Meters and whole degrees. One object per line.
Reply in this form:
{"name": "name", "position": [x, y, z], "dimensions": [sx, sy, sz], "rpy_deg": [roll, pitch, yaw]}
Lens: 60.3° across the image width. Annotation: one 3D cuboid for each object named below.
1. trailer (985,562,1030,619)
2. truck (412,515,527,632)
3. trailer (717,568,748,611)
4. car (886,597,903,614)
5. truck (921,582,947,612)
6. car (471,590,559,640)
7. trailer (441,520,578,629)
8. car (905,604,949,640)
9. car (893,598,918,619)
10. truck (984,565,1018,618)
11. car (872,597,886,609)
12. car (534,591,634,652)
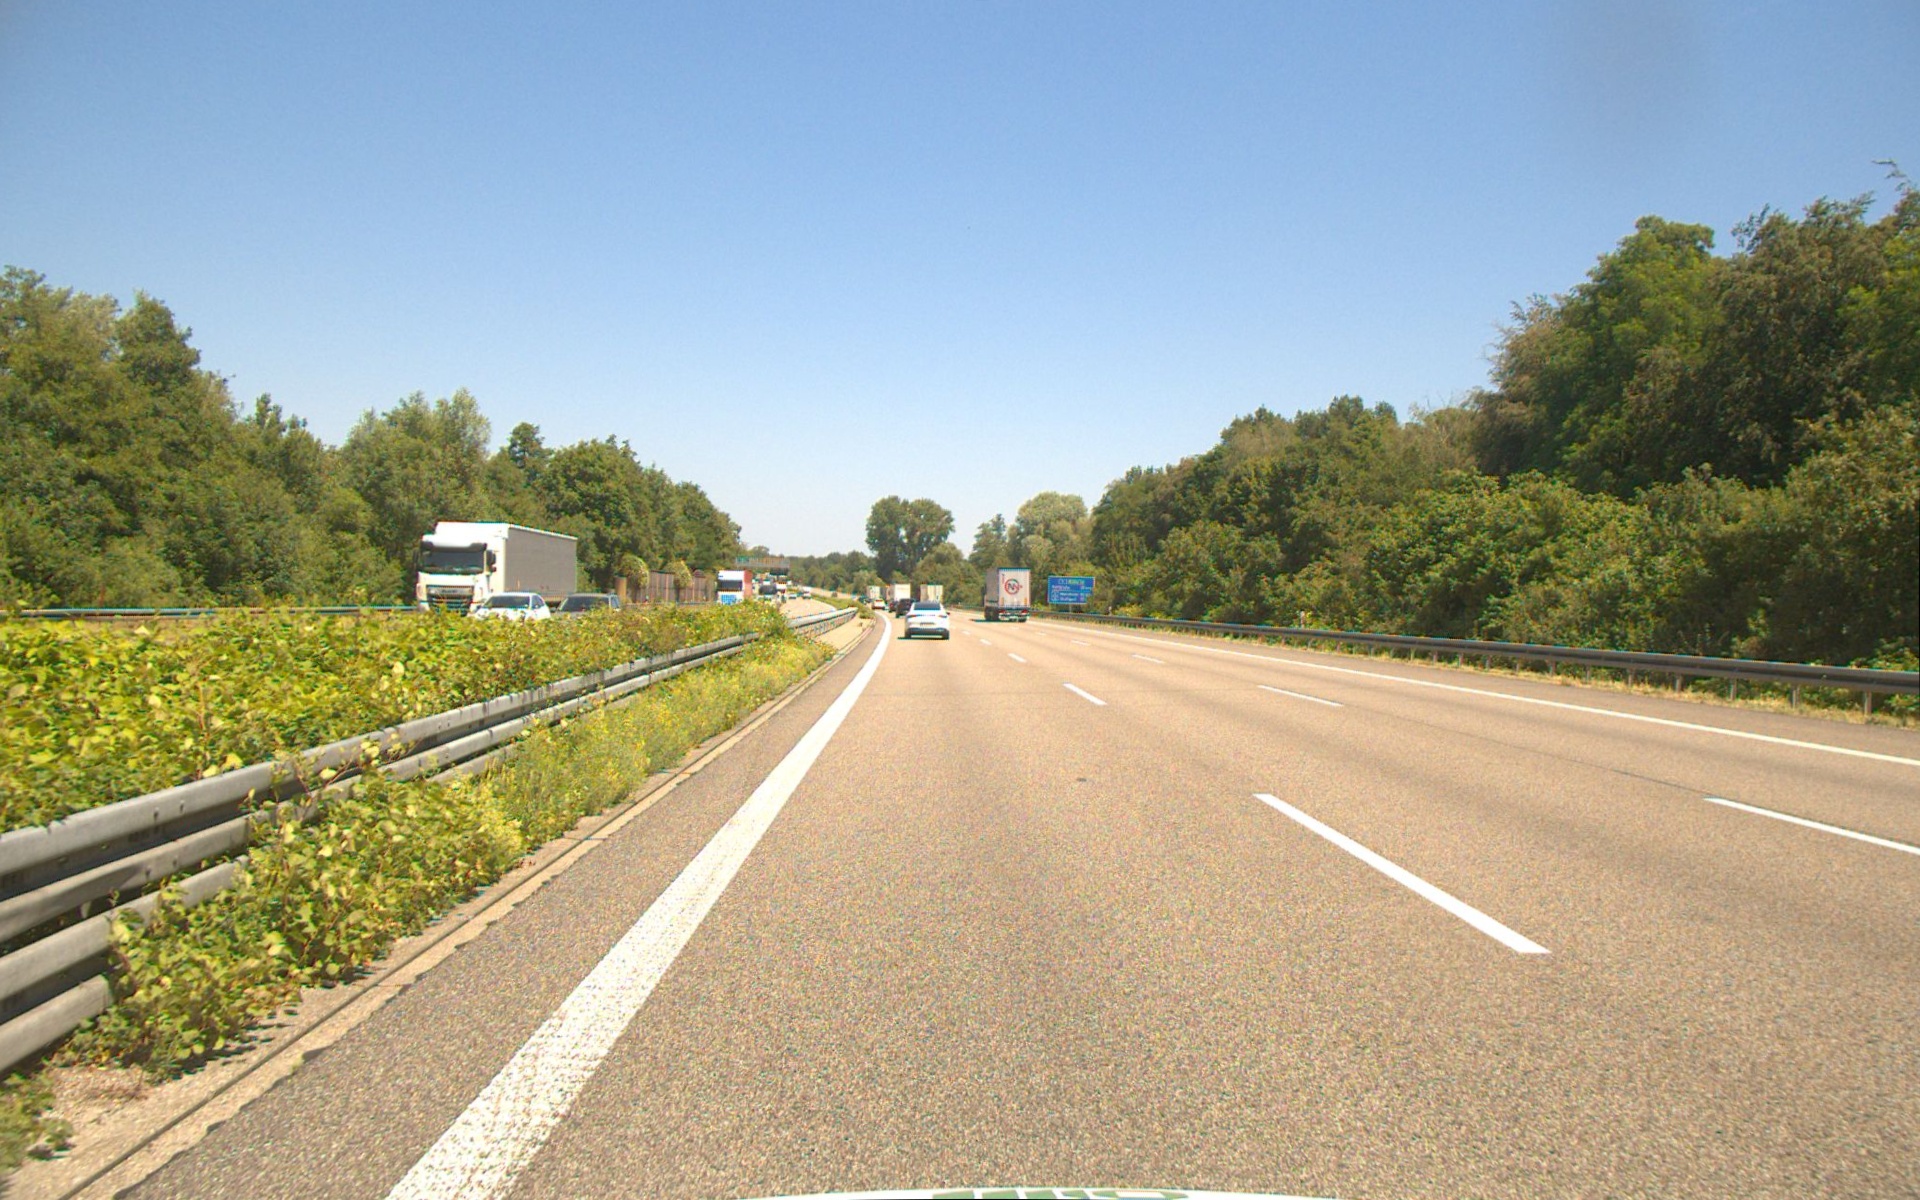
{"name": "trailer", "position": [3.734, -0.712, 133.050], "dimensions": [2.571, 4.335, 14.053], "rpy_deg": [1, 0, -2]}
{"name": "truck", "position": [-18.081, -0.932, 61.331], "dimensions": [2.607, 4.054, 6.549], "rpy_deg": [1, 0, -4]}
{"name": "trailer", "position": [-22.381, -0.983, 162.795], "dimensions": [2.636, 4.112, 6.030], "rpy_deg": [1, 0, -5]}
{"name": "car", "position": [-8.163, 0.650, 205.374], "dimensions": [1.955, 2.049, 3.995], "rpy_deg": [1, 0, -5]}
{"name": "truck", "position": [-4.087, -0.459, 255.615], "dimensions": [3.423, 4.386, 10.980], "rpy_deg": [1, 0, -3]}
{"name": "car", "position": [-13.920, 0.443, 51.931], "dimensions": [1.631, 1.479, 4.123], "rpy_deg": [1, 0, -1]}
{"name": "trailer", "position": [-18.464, -0.959, 68.879], "dimensions": [2.617, 4.035, 13.654], "rpy_deg": [1, 0, -3]}
{"name": "car", "position": [-1.316, 0.880, 66.814], "dimensions": [1.680, 1.393, 3.375], "rpy_deg": [1, 0, 0]}
{"name": "car", "position": [-4.832, 0.754, 145.773], "dimensions": [1.955, 1.803, 3.996], "rpy_deg": [1, 0, -5]}
{"name": "truck", "position": [3.443, -0.746, 140.267], "dimensions": [2.553, 4.362, 5.433], "rpy_deg": [1, 0, -2]}
{"name": "car", "position": [-12.389, 0.440, 253.089], "dimensions": [1.691, 1.814, 3.993], "rpy_deg": [1, 0, -8]}
{"name": "car", "position": [-9.599, 0.523, 42.451], "dimensions": [1.631, 1.479, 4.123], "rpy_deg": [1, 0, -1]}
